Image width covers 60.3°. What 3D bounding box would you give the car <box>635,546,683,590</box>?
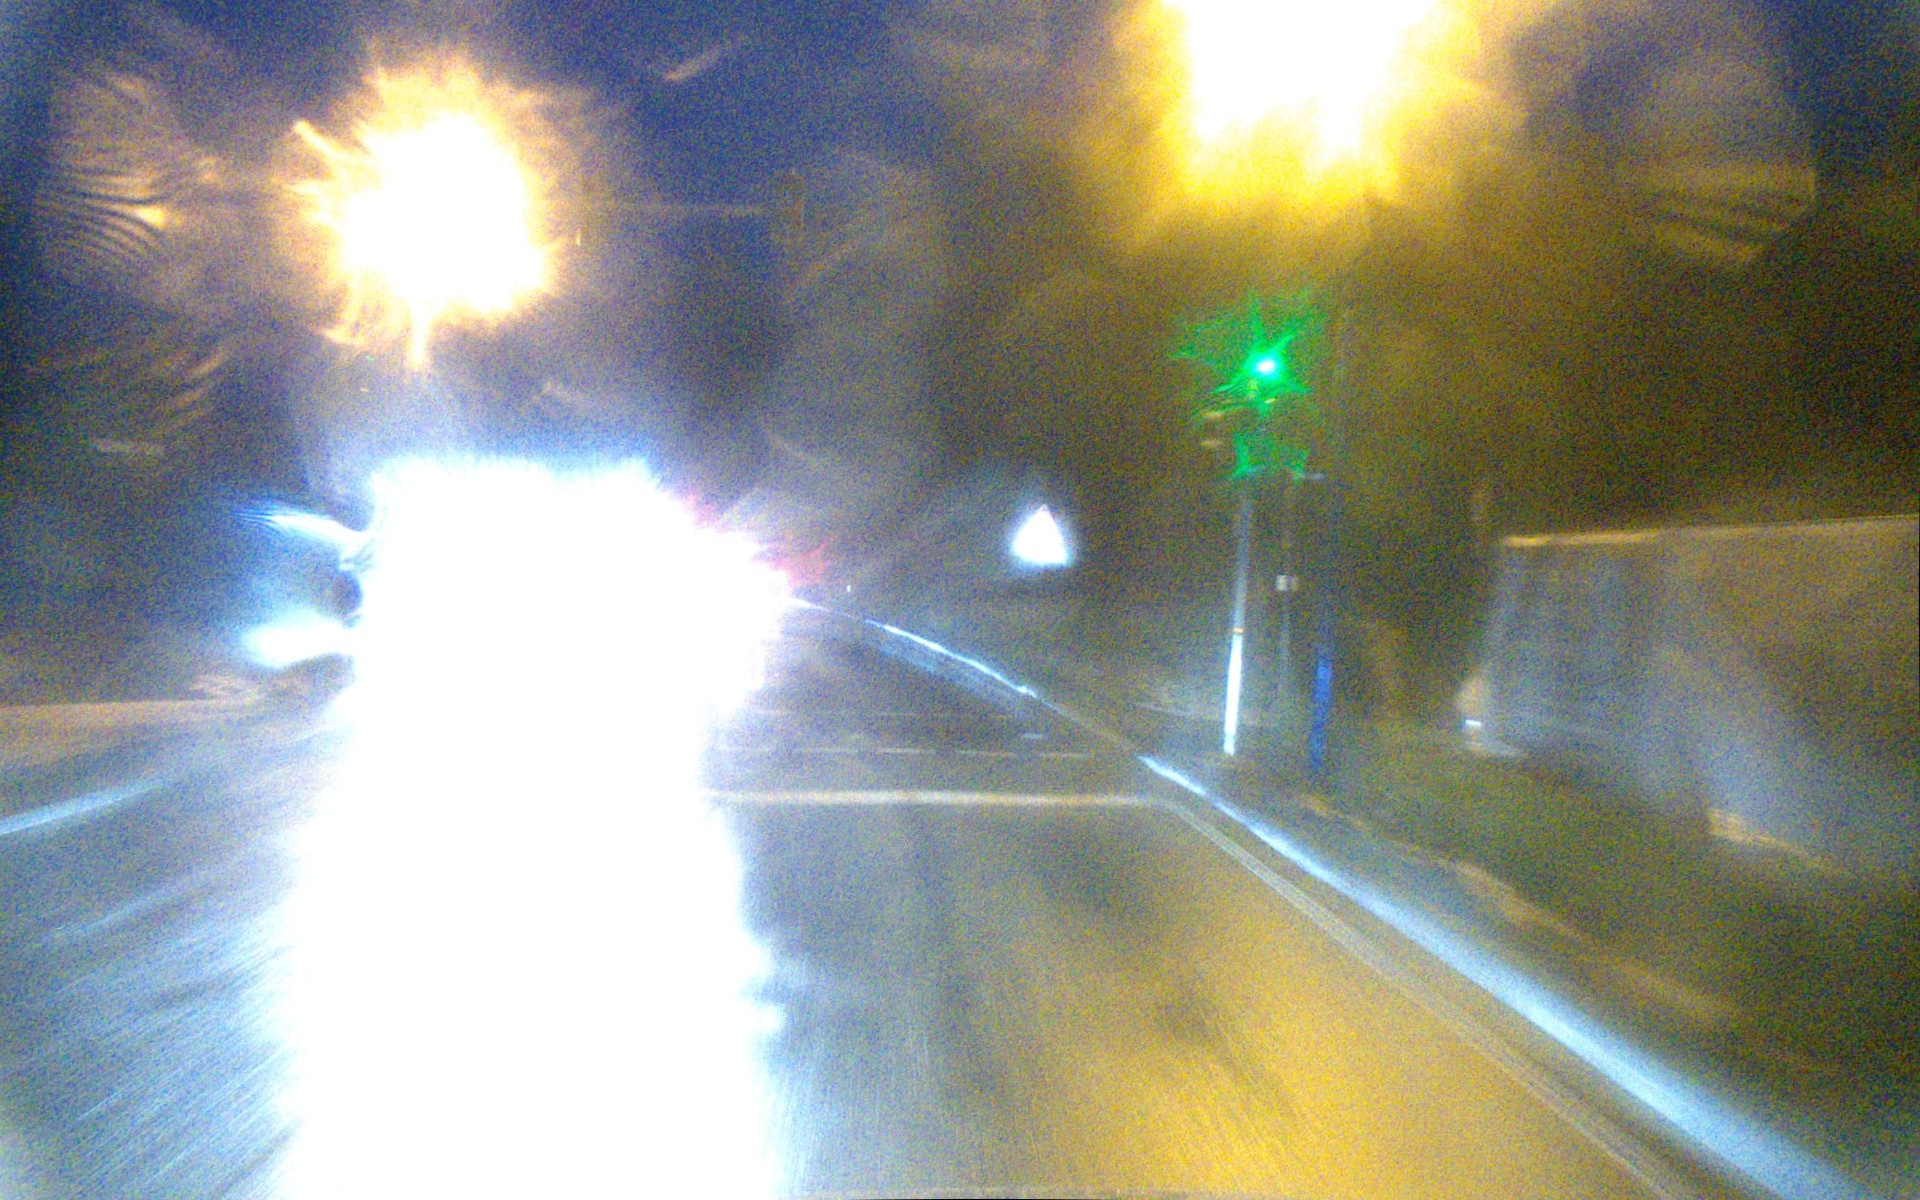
[{"bbox_3d":[-15.878,-1.654,87.210,1.962,2.049,3.981,3,-2,-17],"label":"car"}]

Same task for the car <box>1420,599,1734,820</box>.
[{"bbox_3d":[5.420,0.867,15.039,1.639,1.593,3.804,1,2,4],"label":"car"}]

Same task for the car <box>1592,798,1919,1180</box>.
[{"bbox_3d":[5.274,2.190,10.129,1.601,1.422,3.677,1,1,4],"label":"car"}]

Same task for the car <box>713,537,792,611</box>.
[{"bbox_3d":[-7.697,-1.016,60.816,2.493,2.541,5.700,0,2,-11],"label":"car"}]

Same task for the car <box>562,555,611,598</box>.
[{"bbox_3d":[-19.300,-1.168,85.342,1.963,2.049,4.820,3,-1,-18],"label":"car"}]

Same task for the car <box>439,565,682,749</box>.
[{"bbox_3d":[-3.737,0.490,16.123,1.603,1.537,4.114,-1,0,-4],"label":"car"}]

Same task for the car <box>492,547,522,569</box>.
[{"bbox_3d":[-33.250,-3.080,121.321,1.613,1.536,4.069,-1,2,-22],"label":"car"}]
